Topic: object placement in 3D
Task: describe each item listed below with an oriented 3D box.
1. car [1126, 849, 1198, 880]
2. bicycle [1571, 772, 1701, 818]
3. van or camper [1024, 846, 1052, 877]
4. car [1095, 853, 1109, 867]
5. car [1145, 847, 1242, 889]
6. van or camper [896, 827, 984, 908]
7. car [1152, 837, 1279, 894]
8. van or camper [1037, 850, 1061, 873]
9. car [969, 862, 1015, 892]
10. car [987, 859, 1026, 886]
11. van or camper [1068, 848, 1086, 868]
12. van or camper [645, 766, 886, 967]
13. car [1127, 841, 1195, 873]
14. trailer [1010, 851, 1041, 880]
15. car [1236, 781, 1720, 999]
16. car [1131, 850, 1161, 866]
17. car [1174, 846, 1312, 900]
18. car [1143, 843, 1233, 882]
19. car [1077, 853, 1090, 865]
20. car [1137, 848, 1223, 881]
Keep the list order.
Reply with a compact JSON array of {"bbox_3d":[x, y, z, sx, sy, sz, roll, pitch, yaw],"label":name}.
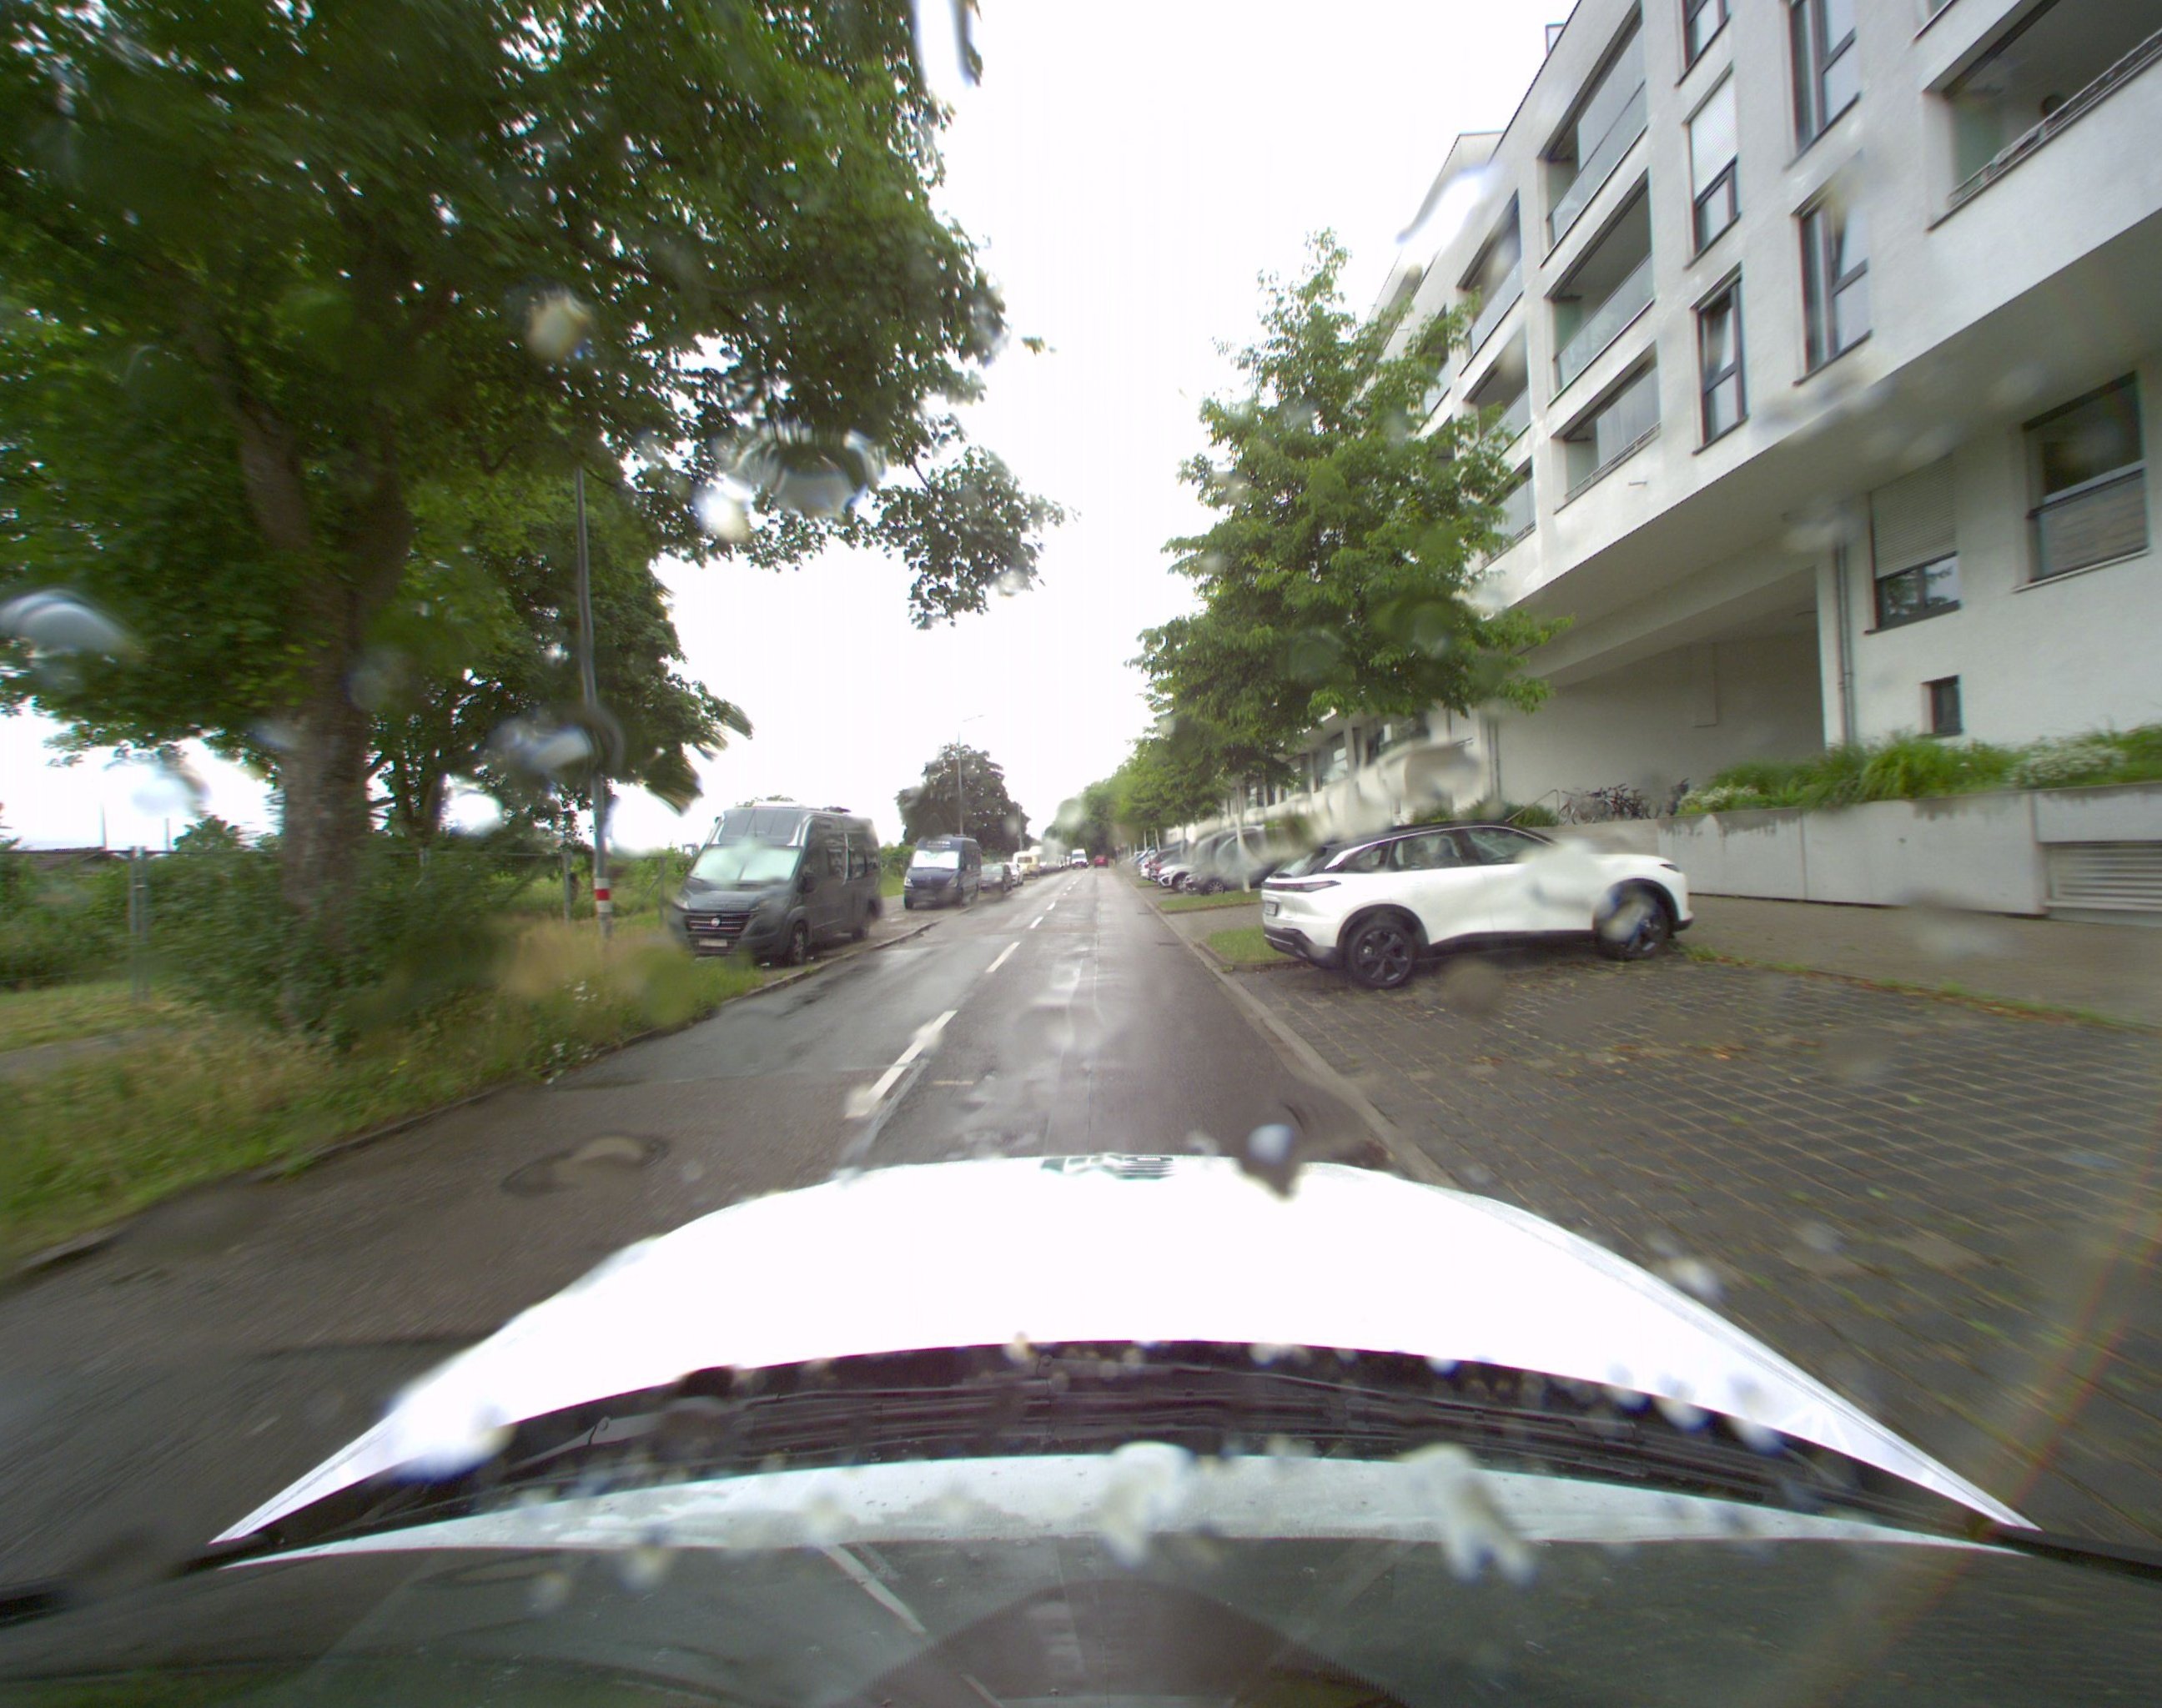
[{"bbox_3d":[4.814,0.640,48.785,4.020,1.499,1.630,-4,-1,-2],"label":"car"},{"bbox_3d":[15.875,-1.666,23.405,2.933,1.118,0.919,-2,-1,17],"label":"bicycle"},{"bbox_3d":[-4.040,0.738,78.230,1.986,2.762,7.901,-1,-1,2],"label":"van or camper"},{"bbox_3d":[2.796,0.847,110.124,1.751,1.706,3.998,-3,-1,-1],"label":"car"},{"bbox_3d":[4.907,0.577,35.911,3.973,1.509,1.684,-4,0,0],"label":"car"},{"bbox_3d":[-5.223,0.514,31.406,2.088,2.716,7.572,0,-1,0],"label":"van or camper"},{"bbox_3d":[5.112,0.422,31.459,4.463,1.687,1.935,-6,0,-1],"label":"car"},{"bbox_3d":[-3.557,0.822,92.210,2.181,2.462,6.379,-1,-1,2],"label":"van or camper"},{"bbox_3d":[-4.642,1.171,43.239,1.767,1.503,4.829,-1,0,2],"label":"car"},{"bbox_3d":[-4.495,1.090,49.890,1.880,1.526,5.109,0,0,1],"label":"car"},{"bbox_3d":[-0.490,0.558,111.077,1.986,2.497,7.181,-3,-1,2],"label":"van or camper"},{"bbox_3d":[-5.616,0.235,15.740,2.087,3.094,6.423,0,-1,0],"label":"van or camper"},{"bbox_3d":[5.764,0.223,58.754,4.608,2.019,1.856,-3,-1,-4],"label":"car"},{"bbox_3d":[-4.441,0.880,65.841,2.052,2.218,5.793,-1,0,0],"label":"trailer"},{"bbox_3d":[4.320,0.372,9.393,4.528,1.685,1.885,-7,-1,-2],"label":"car"},{"bbox_3d":[9.470,0.598,118.908,3.952,2.293,1.786,-2,-1,21],"label":"car"},{"bbox_3d":[5.124,0.579,26.132,3.977,1.495,1.935,-3,0,-3],"label":"car"},{"bbox_3d":[5.352,0.442,41.095,4.150,1.624,1.896,-4,-1,-2],"label":"car"},{"bbox_3d":[0.433,0.854,131.835,1.874,1.757,4.070,-3,-1,2],"label":"car"},{"bbox_3d":[5.227,0.564,43.439,4.287,1.428,1.636,-4,-1,-1],"label":"car"}]
